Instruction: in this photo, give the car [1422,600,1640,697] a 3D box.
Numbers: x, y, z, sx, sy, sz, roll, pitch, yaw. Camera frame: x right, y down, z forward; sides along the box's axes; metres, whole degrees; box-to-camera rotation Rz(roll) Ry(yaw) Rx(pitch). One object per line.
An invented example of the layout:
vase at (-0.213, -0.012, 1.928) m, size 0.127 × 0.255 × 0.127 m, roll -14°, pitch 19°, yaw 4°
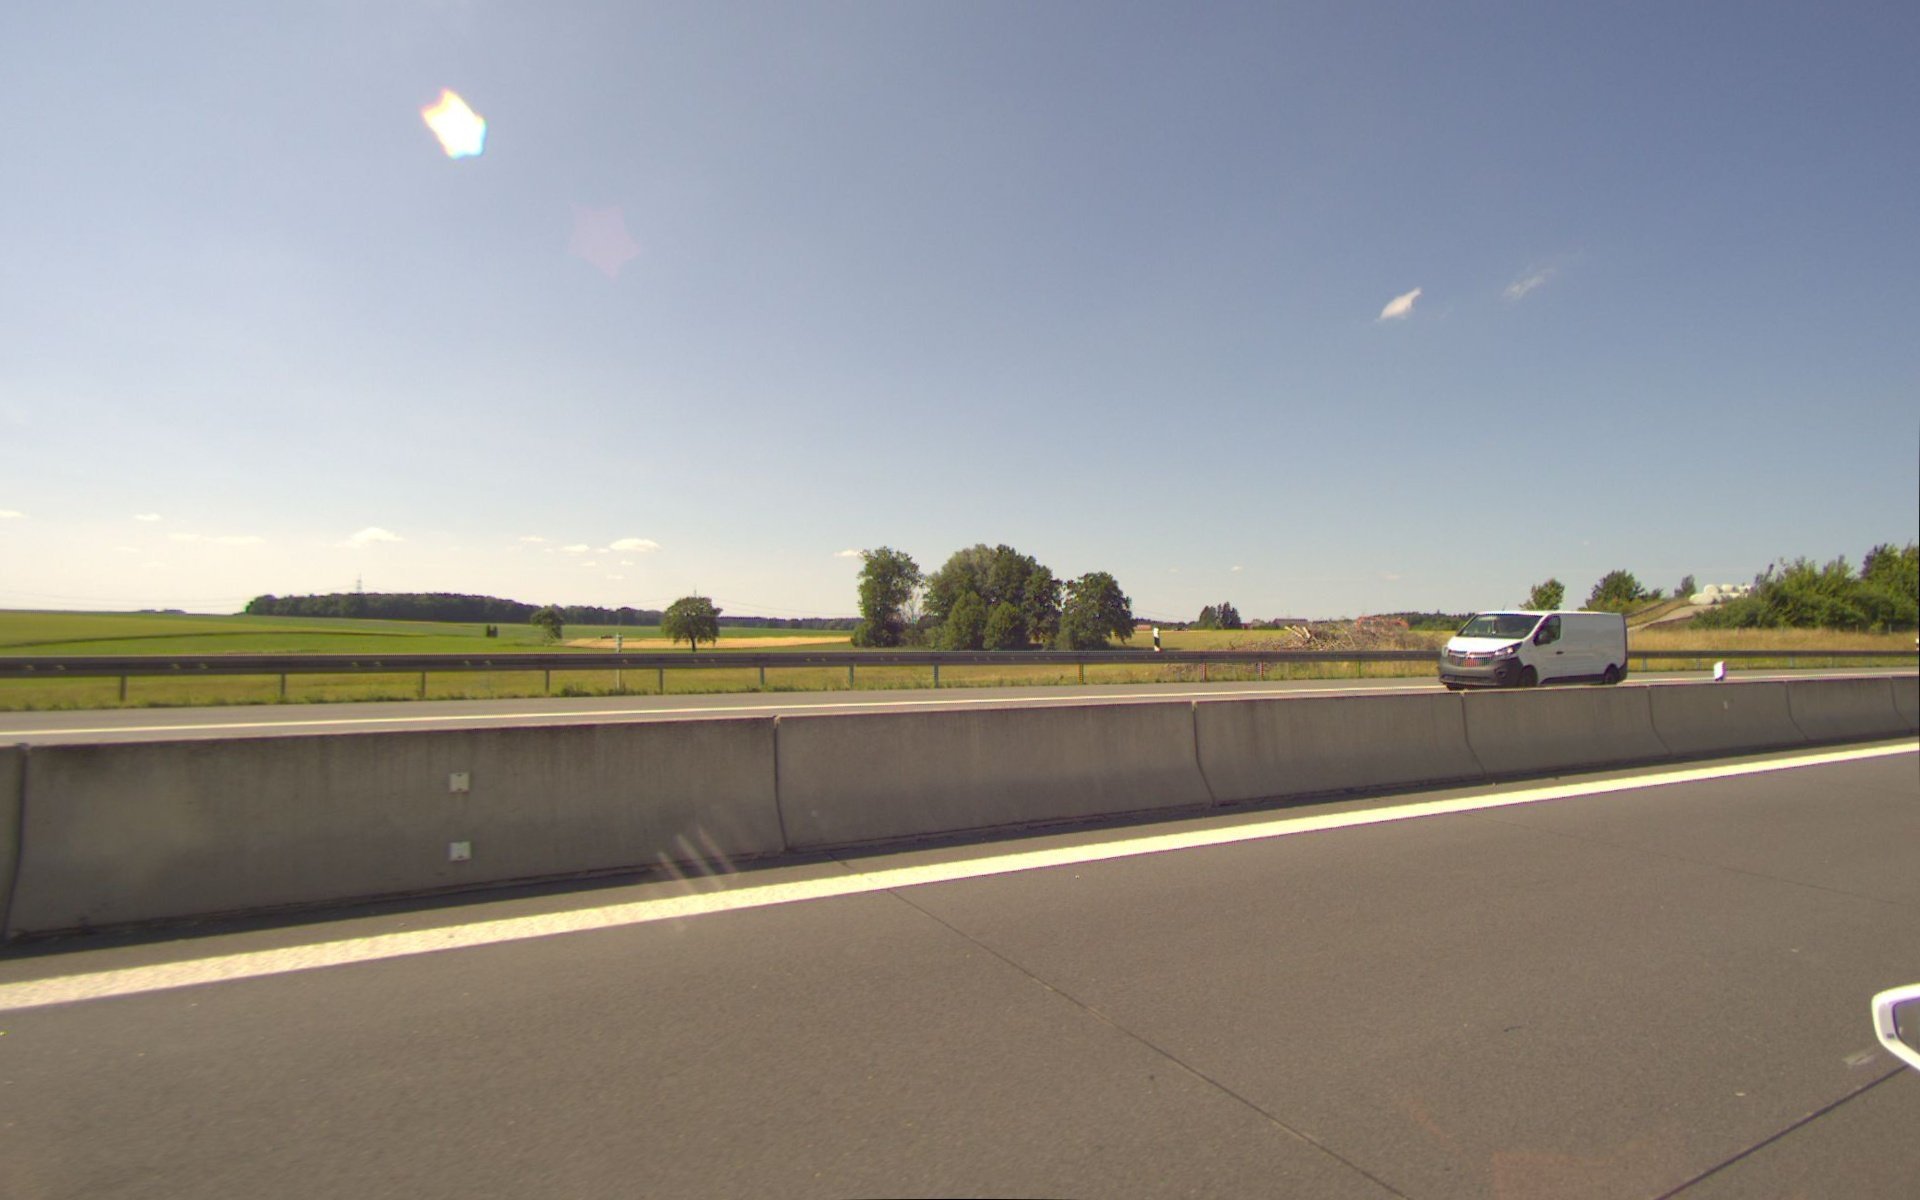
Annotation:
car at (13.695, 1.145, 23.964) m, size 5.651 × 2.040 × 1.983 m, roll 2°, pitch 0°, yaw -31°
